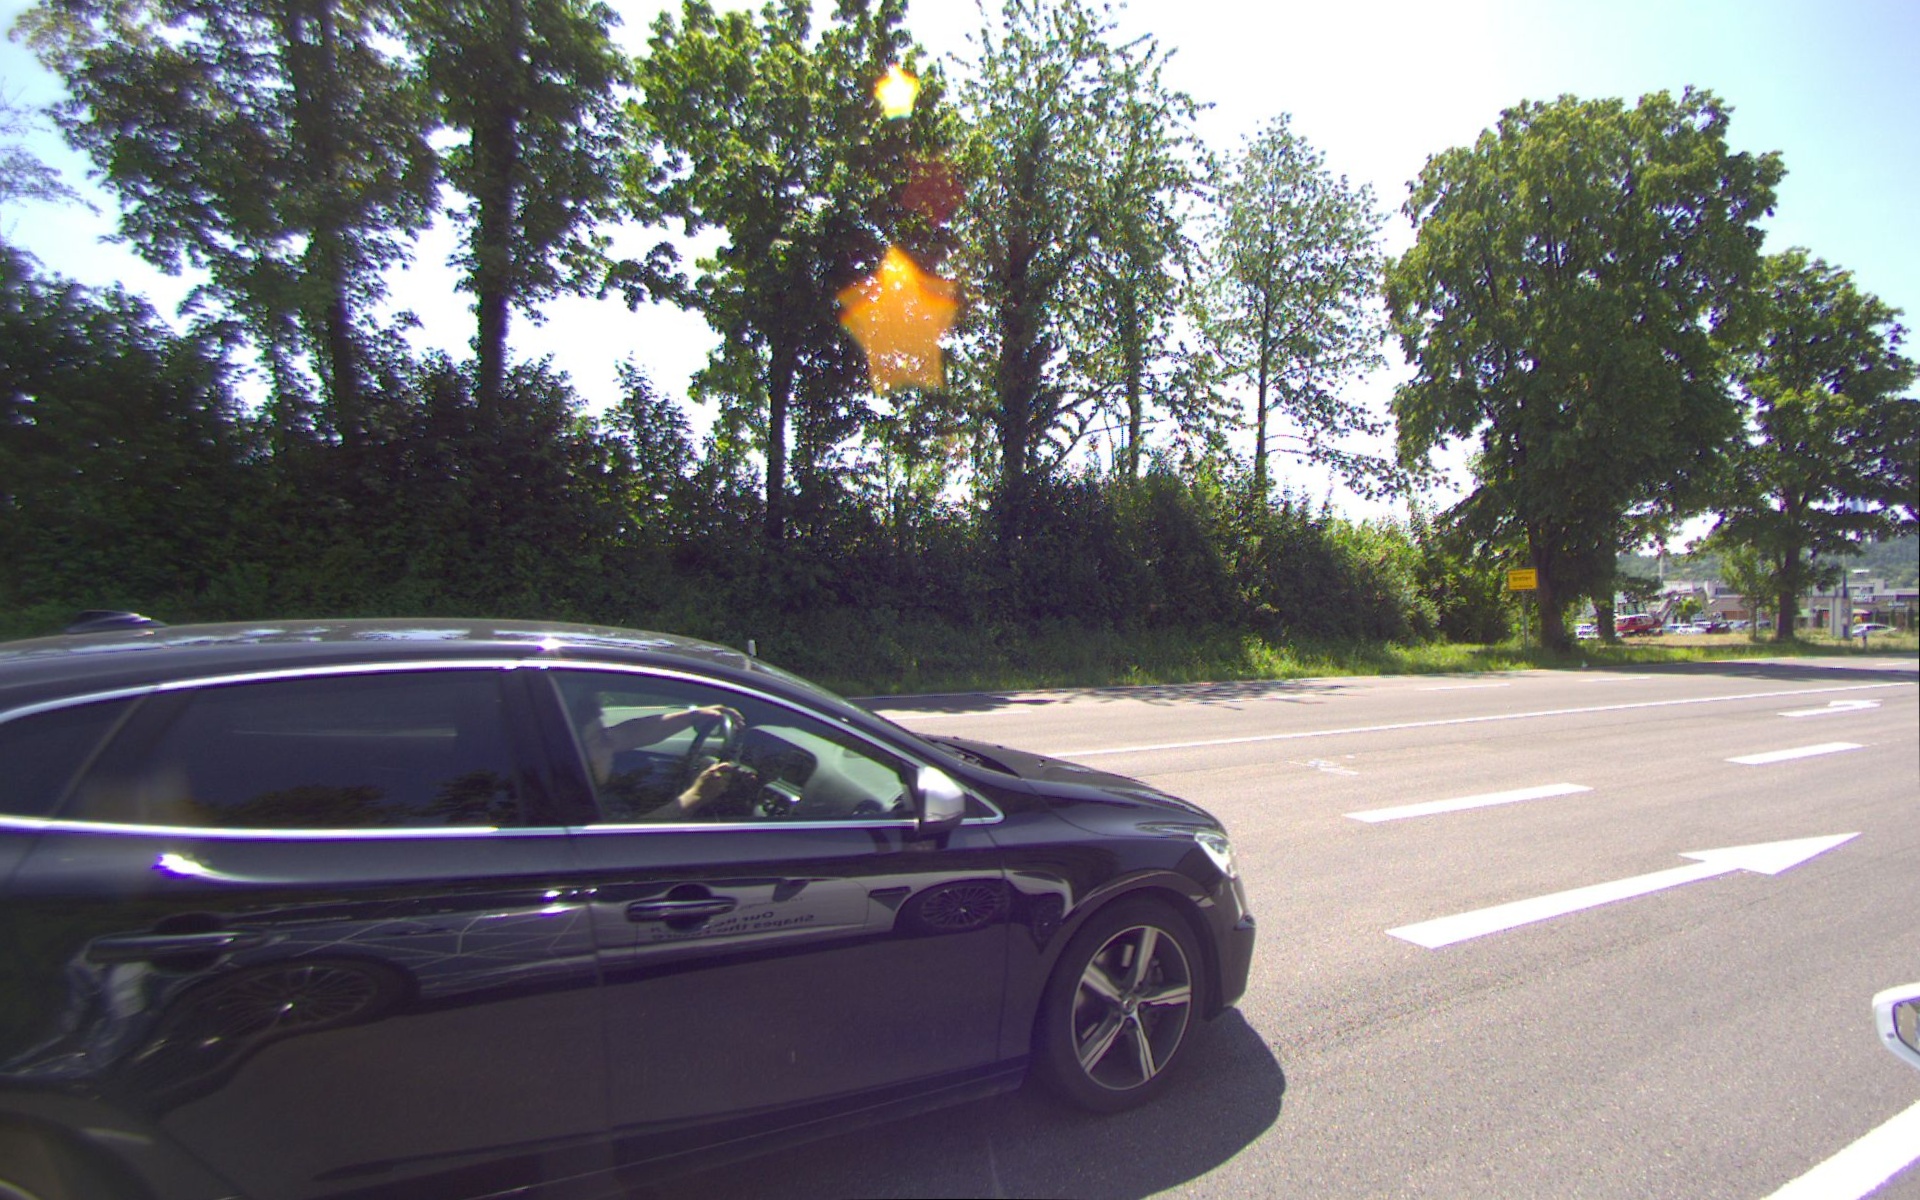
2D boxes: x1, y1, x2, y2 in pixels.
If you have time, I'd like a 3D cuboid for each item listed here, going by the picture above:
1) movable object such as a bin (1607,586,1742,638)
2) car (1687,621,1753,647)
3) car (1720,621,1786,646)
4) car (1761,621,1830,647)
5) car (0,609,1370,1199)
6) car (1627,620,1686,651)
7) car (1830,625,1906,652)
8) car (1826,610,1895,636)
[{"bbox_3d":[47.362,0.756,66.800,6.654,3.342,3.054,0,0,10],"label":"movable object such as a bin"},{"bbox_3d":[53.589,2.375,70.939,1.959,1.673,4.002,1,0,7],"label":"car"},{"bbox_3d":[55.824,2.322,70.767,1.803,1.639,4.002,1,0,6],"label":"car"},{"bbox_3d":[58.465,2.345,70.386,1.803,1.639,4.002,1,0,6],"label":"car"},{"bbox_3d":[-0.925,0.776,2.945,4.353,1.417,1.677,2,-1,-31],"label":"car"},{"bbox_3d":[49.846,2.511,71.935,1.959,2.040,4.002,1,0,10],"label":"car"},{"bbox_3d":[61.415,2.556,68.008,1.803,1.639,4.002,1,0,6],"label":"car"},{"bbox_3d":[75.989,1.922,84.797,3.919,2.040,2.001,1,0,5],"label":"car"}]
